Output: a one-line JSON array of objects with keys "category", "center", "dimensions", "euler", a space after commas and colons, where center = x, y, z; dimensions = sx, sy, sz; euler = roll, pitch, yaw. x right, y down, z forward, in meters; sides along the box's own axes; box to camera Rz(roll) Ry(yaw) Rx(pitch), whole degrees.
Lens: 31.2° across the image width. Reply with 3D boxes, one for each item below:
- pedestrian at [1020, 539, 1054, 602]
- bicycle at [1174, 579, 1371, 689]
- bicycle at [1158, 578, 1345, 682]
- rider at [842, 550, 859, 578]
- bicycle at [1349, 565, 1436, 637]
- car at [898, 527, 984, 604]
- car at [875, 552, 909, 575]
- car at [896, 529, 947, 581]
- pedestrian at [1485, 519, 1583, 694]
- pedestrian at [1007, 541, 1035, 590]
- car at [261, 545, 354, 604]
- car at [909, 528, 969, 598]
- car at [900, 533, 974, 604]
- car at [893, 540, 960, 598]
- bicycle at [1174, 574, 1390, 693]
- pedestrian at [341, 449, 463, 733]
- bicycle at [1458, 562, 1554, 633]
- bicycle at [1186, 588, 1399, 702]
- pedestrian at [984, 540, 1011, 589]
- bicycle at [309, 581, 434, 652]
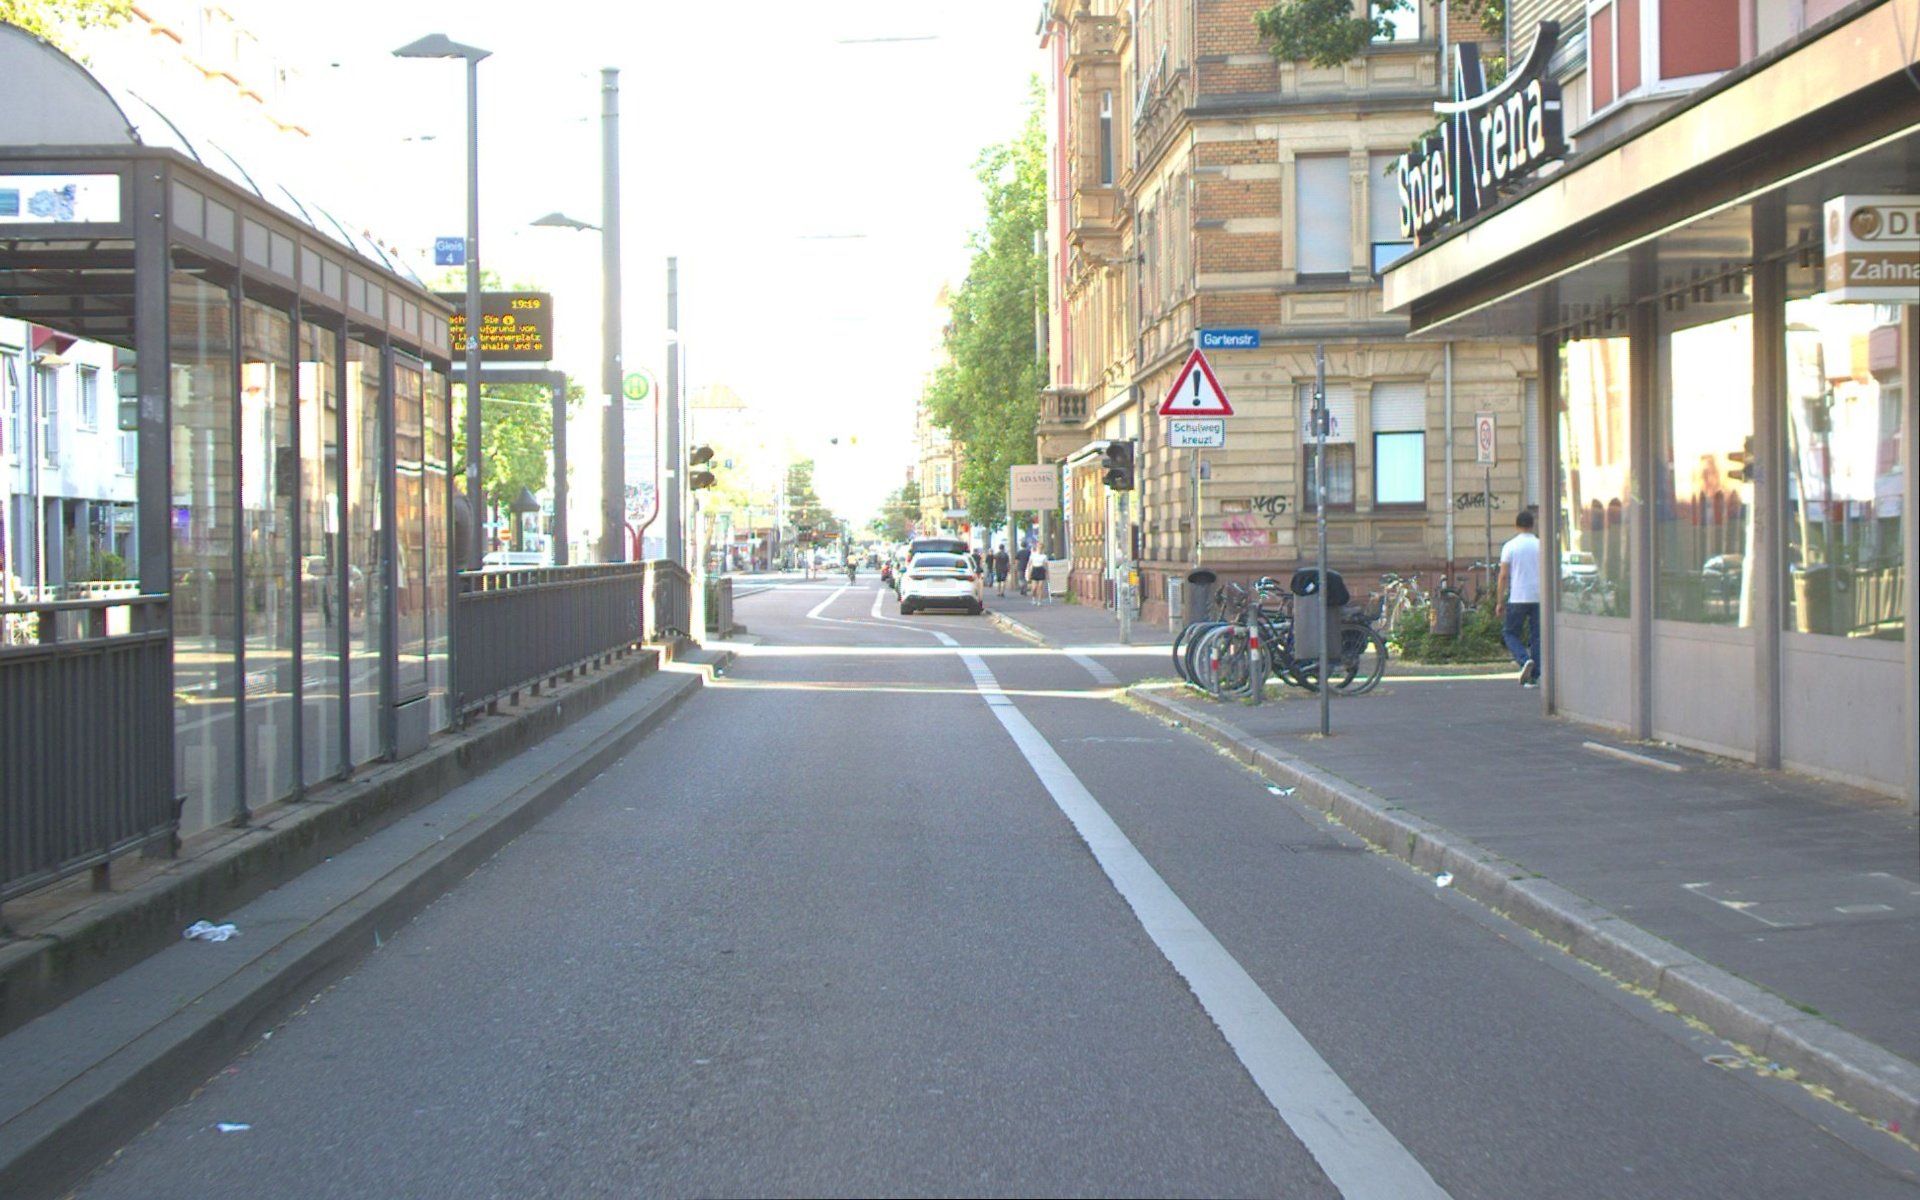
[{"category": "pedestrian", "center": [1.975, -0.765, 88.489], "dimensions": [0.776, 1.561, 0.913], "euler": [-4, 1, 2]}, {"category": "bicycle", "center": [3.059, 0.328, 33.758], "dimensions": [1.833, 1.050, 0.718], "euler": [0, 1, -4]}, {"category": "bicycle", "center": [2.997, 0.306, 35.431], "dimensions": [1.833, 1.050, 0.710], "euler": [0, 1, -4]}, {"category": "rider", "center": [-5.859, -1.947, 183.982], "dimensions": [0.883, 1.476, 0.713], "euler": [1, 0, 0]}, {"category": "bicycle", "center": [6.377, 0.005, 50.782], "dimensions": [0.451, 1.021, 1.908], "euler": [0, 1, -20]}, {"category": "car", "center": [-0.466, -0.838, 82.791], "dimensions": [1.966, 1.765, 4.875], "euler": [1, 1, 0]}, {"category": "car", "center": [-4.343, -2.338, 218.639], "dimensions": [2.065, 1.384, 4.225], "euler": [2, 1, -1]}, {"category": "car", "center": [-1.569, -1.835, 140.546], "dimensions": [1.971, 2.007, 4.558], "euler": [-2, 1, 0]}, {"category": "pedestrian", "center": [5.604, 0.049, 33.606], "dimensions": [0.783, 1.660, 1.033], "euler": [0, 2, 0]}, {"category": "pedestrian", "center": [2.000, -1.135, 112.868], "dimensions": [0.776, 1.561, 0.914], "euler": [-4, 1, 0]}, {"category": "car", "center": [-20.130, -0.769, 106.205], "dimensions": [2.090, 1.707, 4.819], "euler": [1, 0, -2]}, {"category": "car", "center": [-0.636, -1.116, 105.525], "dimensions": [1.705, 2.112, 3.706], "euler": [0, 0, 2]}, {"category": "car", "center": [-0.629, -0.884, 94.799], "dimensions": [1.955, 1.862, 4.989], "euler": [1, 1, 0]}, {"category": "car", "center": [-1.102, -1.013, 110.869], "dimensions": [1.949, 1.782, 5.182], "euler": [1, 0, -2]}, {"category": "bicycle", "center": [3.086, 0.317, 33.028], "dimensions": [1.970, 1.101, 0.614], "euler": [-1, 1, -4]}, {"category": "pedestrian", "center": [-3.424, -0.063, 21.143], "dimensions": [0.622, 1.706, 0.850], "euler": [0, 1, -2]}, {"category": "bicycle", "center": [8.067, -0.052, 50.890], "dimensions": [0.495, 1.021, 1.908], "euler": [0, 1, -22]}, {"category": "bicycle", "center": [3.122, 0.414, 32.373], "dimensions": [1.913, 1.044, 0.681], "euler": [0, 1, -4]}, {"category": "pedestrian", "center": [1.217, -1.163, 112.846], "dimensions": [0.776, 1.561, 0.914], "euler": [-4, 1, 0]}, {"category": "bicycle", "center": [-9.579, 0.263, 55.981], "dimensions": [1.893, 1.074, 0.584], "euler": [2, 0, 0]}]
